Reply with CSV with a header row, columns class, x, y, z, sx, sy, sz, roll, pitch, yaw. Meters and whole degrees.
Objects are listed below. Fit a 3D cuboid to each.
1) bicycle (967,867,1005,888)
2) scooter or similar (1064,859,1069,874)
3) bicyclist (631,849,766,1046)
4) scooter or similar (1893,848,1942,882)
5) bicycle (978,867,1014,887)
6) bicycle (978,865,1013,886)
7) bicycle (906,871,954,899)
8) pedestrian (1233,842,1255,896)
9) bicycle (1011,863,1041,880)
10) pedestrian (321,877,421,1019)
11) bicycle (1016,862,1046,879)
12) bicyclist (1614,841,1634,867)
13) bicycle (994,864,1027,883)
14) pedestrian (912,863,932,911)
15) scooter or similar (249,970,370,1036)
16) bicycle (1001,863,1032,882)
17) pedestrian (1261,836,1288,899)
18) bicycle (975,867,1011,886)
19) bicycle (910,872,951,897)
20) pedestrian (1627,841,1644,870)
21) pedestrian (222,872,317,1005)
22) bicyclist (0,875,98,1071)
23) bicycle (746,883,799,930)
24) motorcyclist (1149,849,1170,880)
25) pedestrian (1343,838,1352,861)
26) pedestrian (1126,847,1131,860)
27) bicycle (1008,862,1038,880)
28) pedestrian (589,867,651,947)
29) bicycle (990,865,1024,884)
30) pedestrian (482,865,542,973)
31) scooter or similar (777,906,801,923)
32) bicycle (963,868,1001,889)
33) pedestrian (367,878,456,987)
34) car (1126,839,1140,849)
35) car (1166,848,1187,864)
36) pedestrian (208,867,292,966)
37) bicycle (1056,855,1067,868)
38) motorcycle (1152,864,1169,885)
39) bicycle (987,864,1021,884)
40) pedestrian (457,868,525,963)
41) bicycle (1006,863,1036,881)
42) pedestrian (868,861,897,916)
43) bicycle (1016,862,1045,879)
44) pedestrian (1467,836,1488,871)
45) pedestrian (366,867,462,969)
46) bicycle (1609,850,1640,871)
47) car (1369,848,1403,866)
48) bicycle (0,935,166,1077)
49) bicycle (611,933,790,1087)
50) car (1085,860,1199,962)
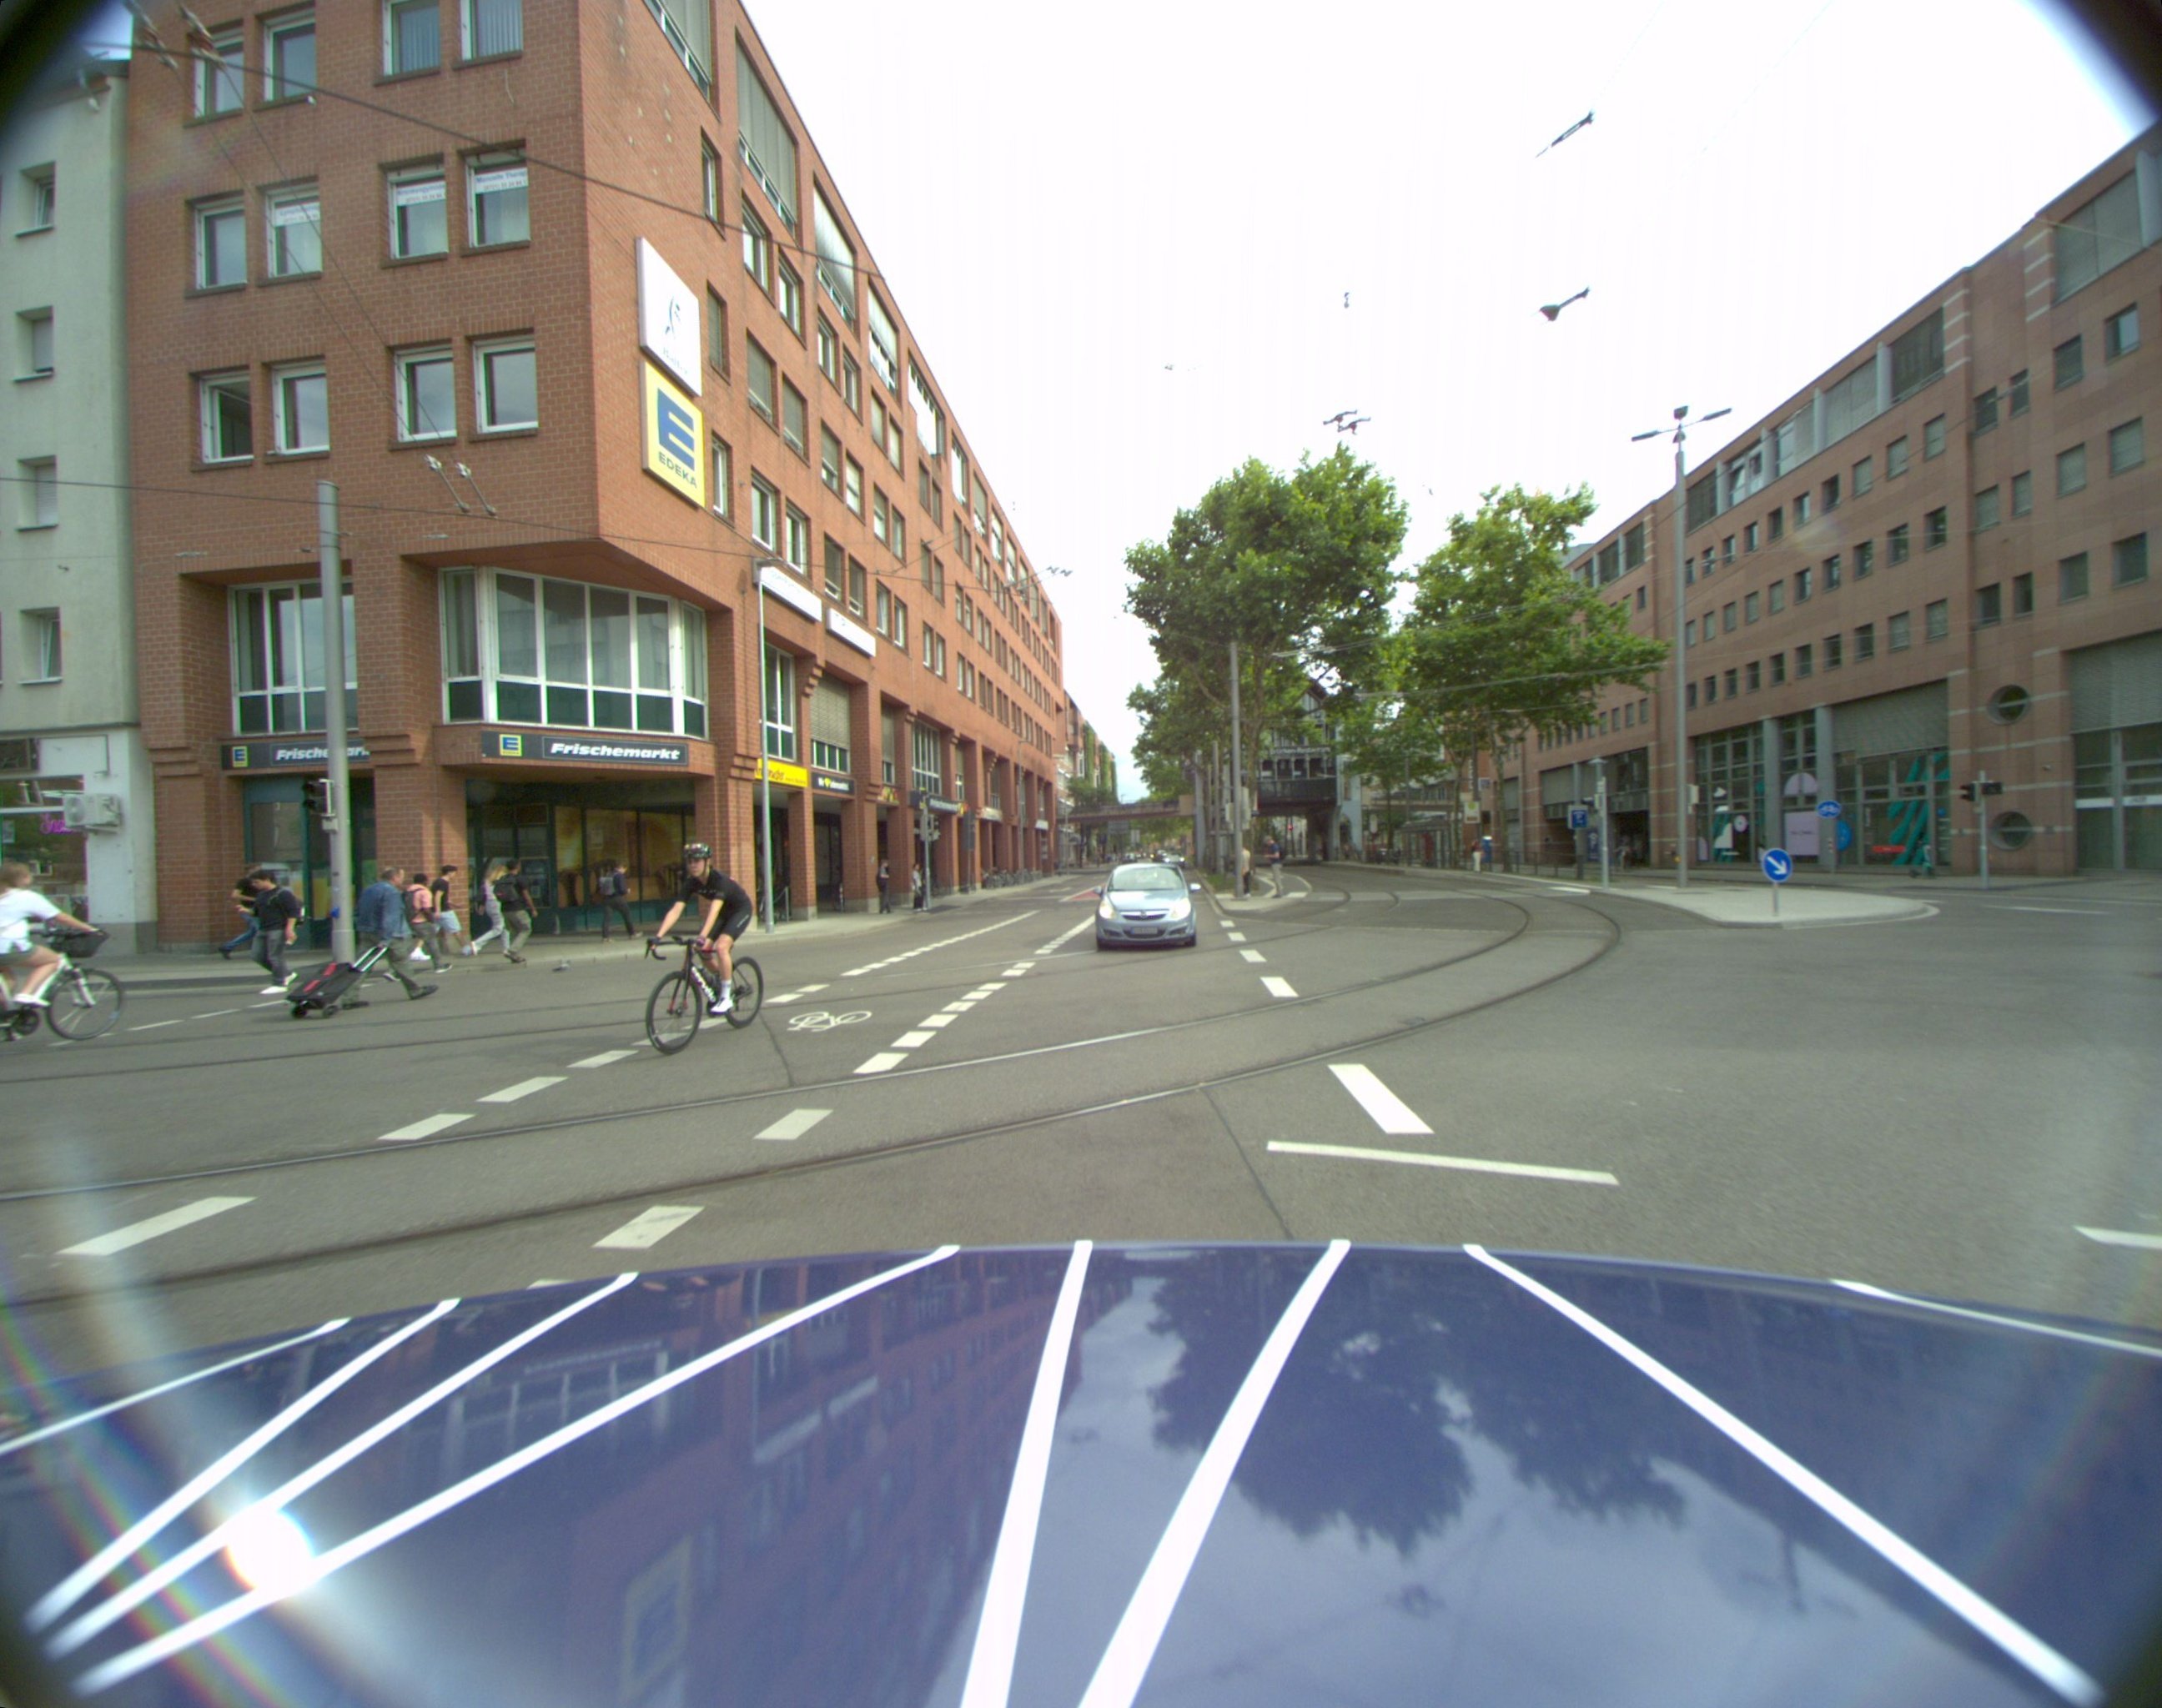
class,x,y,z,sx,sy,sz,roll,pitch,yaw
bicycle,-4.978,1.237,39.874,1.858,1.034,0.535,-1,0,8
scooter or similar,-1.199,1.004,62.367,0.272,1.250,0.922,-1,0,8
bicyclist,-3.294,0.764,6.615,0.613,1.594,0.847,-2,1,7
scooter or similar,28.562,0.362,25.966,0.520,1.126,1.112,-1,0,8
bicycle,-4.521,1.243,40.455,1.858,1.034,0.535,-1,0,8
bicycle,-4.776,1.192,42.301,1.858,1.105,0.535,-1,0,8
bicycle,-6.226,1.267,31.425,1.868,1.078,0.628,-1,1,-43
pedestrian,5.420,0.486,25.281,0.534,1.781,0.578,-1,1,28
bicycle,-3.624,1.148,50.194,1.858,1.134,0.535,-1,0,8
pedestrian,-8.733,1.132,9.366,0.640,1.677,0.600,-1,0,8
bicycle,-3.343,1.121,50.852,1.858,1.134,0.535,-1,0,8
bicyclist,29.025,0.003,40.630,0.551,1.373,0.738,-1,1,1
bicycle,-4.162,1.147,44.713,1.858,1.105,0.535,-1,0,8
pedestrian,-5.562,1.149,26.572,0.407,1.622,0.733,0,1,16
scooter or similar,-8.673,1.663,8.576,0.508,0.570,0.816,-2,0,1
bicycle,-4.019,1.154,47.582,1.858,1.134,0.535,-1,0,8
pedestrian,5.835,0.412,22.959,0.693,1.864,0.807,-1,0,9
bicycle,-4.747,1.216,41.177,1.858,1.034,0.535,-1,0,8
bicycle,-6.959,1.407,35.232,1.868,1.078,0.483,-1,1,-43
pedestrian,30.756,0.093,42.163,0.528,1.564,0.601,-1,1,8
pedestrian,-11.523,1.172,10.805,0.568,1.813,0.696,-1,0,7
bicyclist,-9.852,1.061,6.922,0.642,1.699,0.862,-2,0,-10
bicycle,-8.202,1.375,20.277,0.566,1.086,1.699,1,1,7
motorcyclist,3.937,0.541,38.010,0.872,1.508,1.043,-2,0,-2
pedestrian,21.016,-0.363,59.933,0.481,1.761,0.481,-2,1,1
pedestrian,5.925,-0.068,95.299,0.515,1.645,0.612,-1,0,8
bicycle,-3.753,1.117,48.948,1.858,1.134,0.535,-1,0,8
pedestrian,-9.644,1.089,15.924,0.619,1.591,0.922,-1,0,8
bicycle,-4.289,1.191,44.074,1.858,1.105,0.535,-1,0,8
pedestrian,-9.675,1.086,12.927,0.542,1.787,0.561,-1,0,8
scooter or similar,-8.308,1.724,21.654,0.263,0.416,0.892,-1,-1,6
bicycle,-5.118,1.269,39.196,1.858,1.034,0.508,-1,0,8
pedestrian,-10.625,1.227,12.087,0.542,1.642,0.893,-1,0,8
car,8.771,-1.727,128.565,1.956,1.592,4.002,-1,0,8
car,9.719,0.200,76.987,1.956,1.592,4.002,-1,0,8
pedestrian,-15.447,1.145,14.140,0.737,1.773,0.706,-1,1,9
bicycle,-2.103,0.852,83.325,0.746,1.382,2.981,-1,0,8
motorcycle,3.964,1.016,38.092,0.570,0.962,2.014,-1,0,-1
bicycle,-4.378,1.135,43.249,1.858,1.105,0.535,-1,0,8
pedestrian,-10.874,1.112,14.012,0.648,1.679,0.651,-1,2,8
bicycle,-3.813,1.140,48.266,1.858,1.134,0.535,-1,0,8
pedestrian,-6.281,1.075,24.059,0.647,1.686,0.698,0,1,5
bicycle,-3.447,1.147,51.675,1.858,1.134,0.535,-1,0,8
pedestrian,17.654,-0.029,33.809,0.658,1.529,0.558,-2,3,4
pedestrian,-11.846,1.107,13.521,0.648,1.704,1.056,-1,1,8
bicycle,29.033,0.328,40.601,0.547,1.111,1.590,-1,0,1
car,27.743,0.255,69.256,1.867,1.464,4.298,-1,0,7
bicycle,-9.911,1.435,7.153,0.391,1.115,2.074,-2,0,-11
bicycle,-3.256,1.288,6.700,0.488,0.994,1.749,-1,0,7
car,1.118,0.924,14.009,1.723,1.395,4.000,-3,1,5
